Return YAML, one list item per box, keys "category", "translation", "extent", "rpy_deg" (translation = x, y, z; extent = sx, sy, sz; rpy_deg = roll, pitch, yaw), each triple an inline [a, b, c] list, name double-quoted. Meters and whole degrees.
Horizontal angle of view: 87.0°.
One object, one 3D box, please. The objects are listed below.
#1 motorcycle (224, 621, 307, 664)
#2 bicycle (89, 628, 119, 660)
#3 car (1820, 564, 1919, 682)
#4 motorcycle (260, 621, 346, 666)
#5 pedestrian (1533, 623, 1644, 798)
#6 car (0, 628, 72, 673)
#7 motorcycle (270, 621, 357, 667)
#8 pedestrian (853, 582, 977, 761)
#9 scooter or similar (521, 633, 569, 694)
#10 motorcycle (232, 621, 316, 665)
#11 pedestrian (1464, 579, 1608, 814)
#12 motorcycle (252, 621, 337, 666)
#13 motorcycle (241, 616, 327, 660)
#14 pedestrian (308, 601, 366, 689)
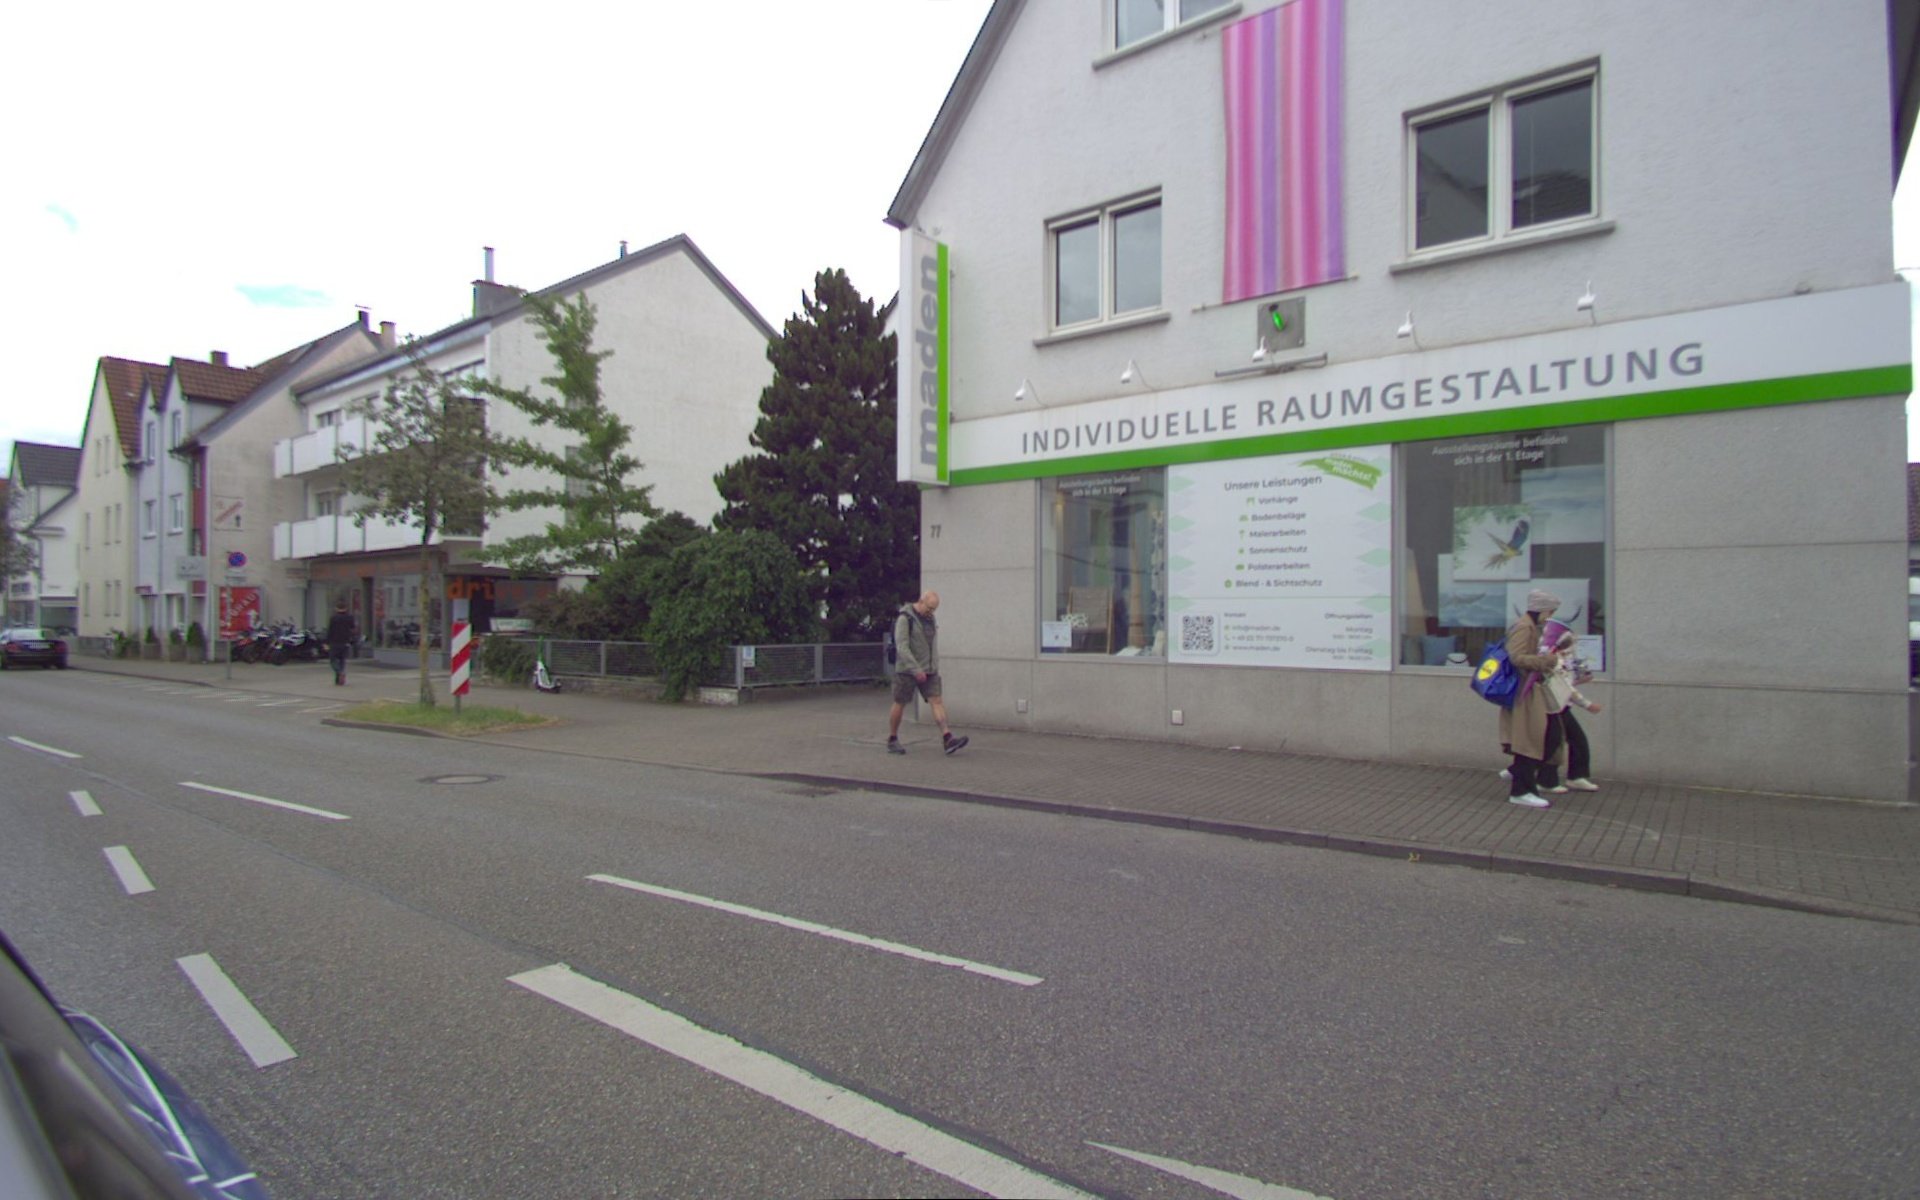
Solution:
- category: "motorcycle"
  translation: [-23.389, 1.421, 34.129]
  extent: [0.612, 1.274, 2.204]
  rpy_deg: [-1, 1, 38]
- category: "bicycle"
  translation: [-33.714, 1.712, 39.853]
  extent: [2.021, 1.205, 0.509]
  rpy_deg: [-1, 0, 39]
- category: "car"
  translation: [22.213, 0.466, 24.361]
  extent: [1.957, 2.527, 5.919]
  rpy_deg: [2, 2, 38]
- category: "motorcycle"
  translation: [-20.899, 1.356, 32.239]
  extent: [0.612, 1.274, 2.204]
  rpy_deg: [-1, 1, 38]
- category: "pedestrian"
  translation: [4.988, 0.840, 8.035]
  extent: [0.654, 1.289, 0.593]
  rpy_deg: [-1, 0, 40]
- category: "car"
  translation: [-32.181, 1.692, 34.794]
  extent: [4.336, 1.428, 1.770]
  rpy_deg: [-1, -2, 39]
- category: "motorcycle"
  translation: [-20.233, 1.344, 31.718]
  extent: [0.612, 1.274, 2.204]
  rpy_deg: [-1, 1, 38]
- category: "pedestrian"
  translation: [-0.476, 0.714, 10.629]
  extent: [1.019, 1.756, 0.744]
  rpy_deg: [-1, 1, 40]
- category: "scooter or similar"
  translation: [-7.904, 1.194, 19.267]
  extent: [1.179, 1.120, 0.336]
  rpy_deg: [-1, -1, 40]
- category: "motorcycle"
  translation: [-22.806, 1.410, 33.693]
  extent: [0.612, 1.274, 2.204]
  rpy_deg: [-1, 1, 38]
- category: "pedestrian"
  translation: [4.343, 0.677, 7.620]
  extent: [0.792, 1.629, 0.744]
  rpy_deg: [-1, 2, 40]
- category: "motorcycle"
  translation: [-21.497, 1.386, 32.736]
  extent: [0.612, 1.274, 2.204]
  rpy_deg: [-1, 1, 38]
- category: "motorcycle"
  translation: [-22.191, 1.234, 33.251]
  extent: [0.698, 1.274, 2.204]
  rpy_deg: [-1, 1, 38]
- category: "pedestrian"
  translation: [-13.946, 0.987, 22.653]
  extent: [1.019, 1.863, 0.744]
  rpy_deg: [-1, 2, 40]
